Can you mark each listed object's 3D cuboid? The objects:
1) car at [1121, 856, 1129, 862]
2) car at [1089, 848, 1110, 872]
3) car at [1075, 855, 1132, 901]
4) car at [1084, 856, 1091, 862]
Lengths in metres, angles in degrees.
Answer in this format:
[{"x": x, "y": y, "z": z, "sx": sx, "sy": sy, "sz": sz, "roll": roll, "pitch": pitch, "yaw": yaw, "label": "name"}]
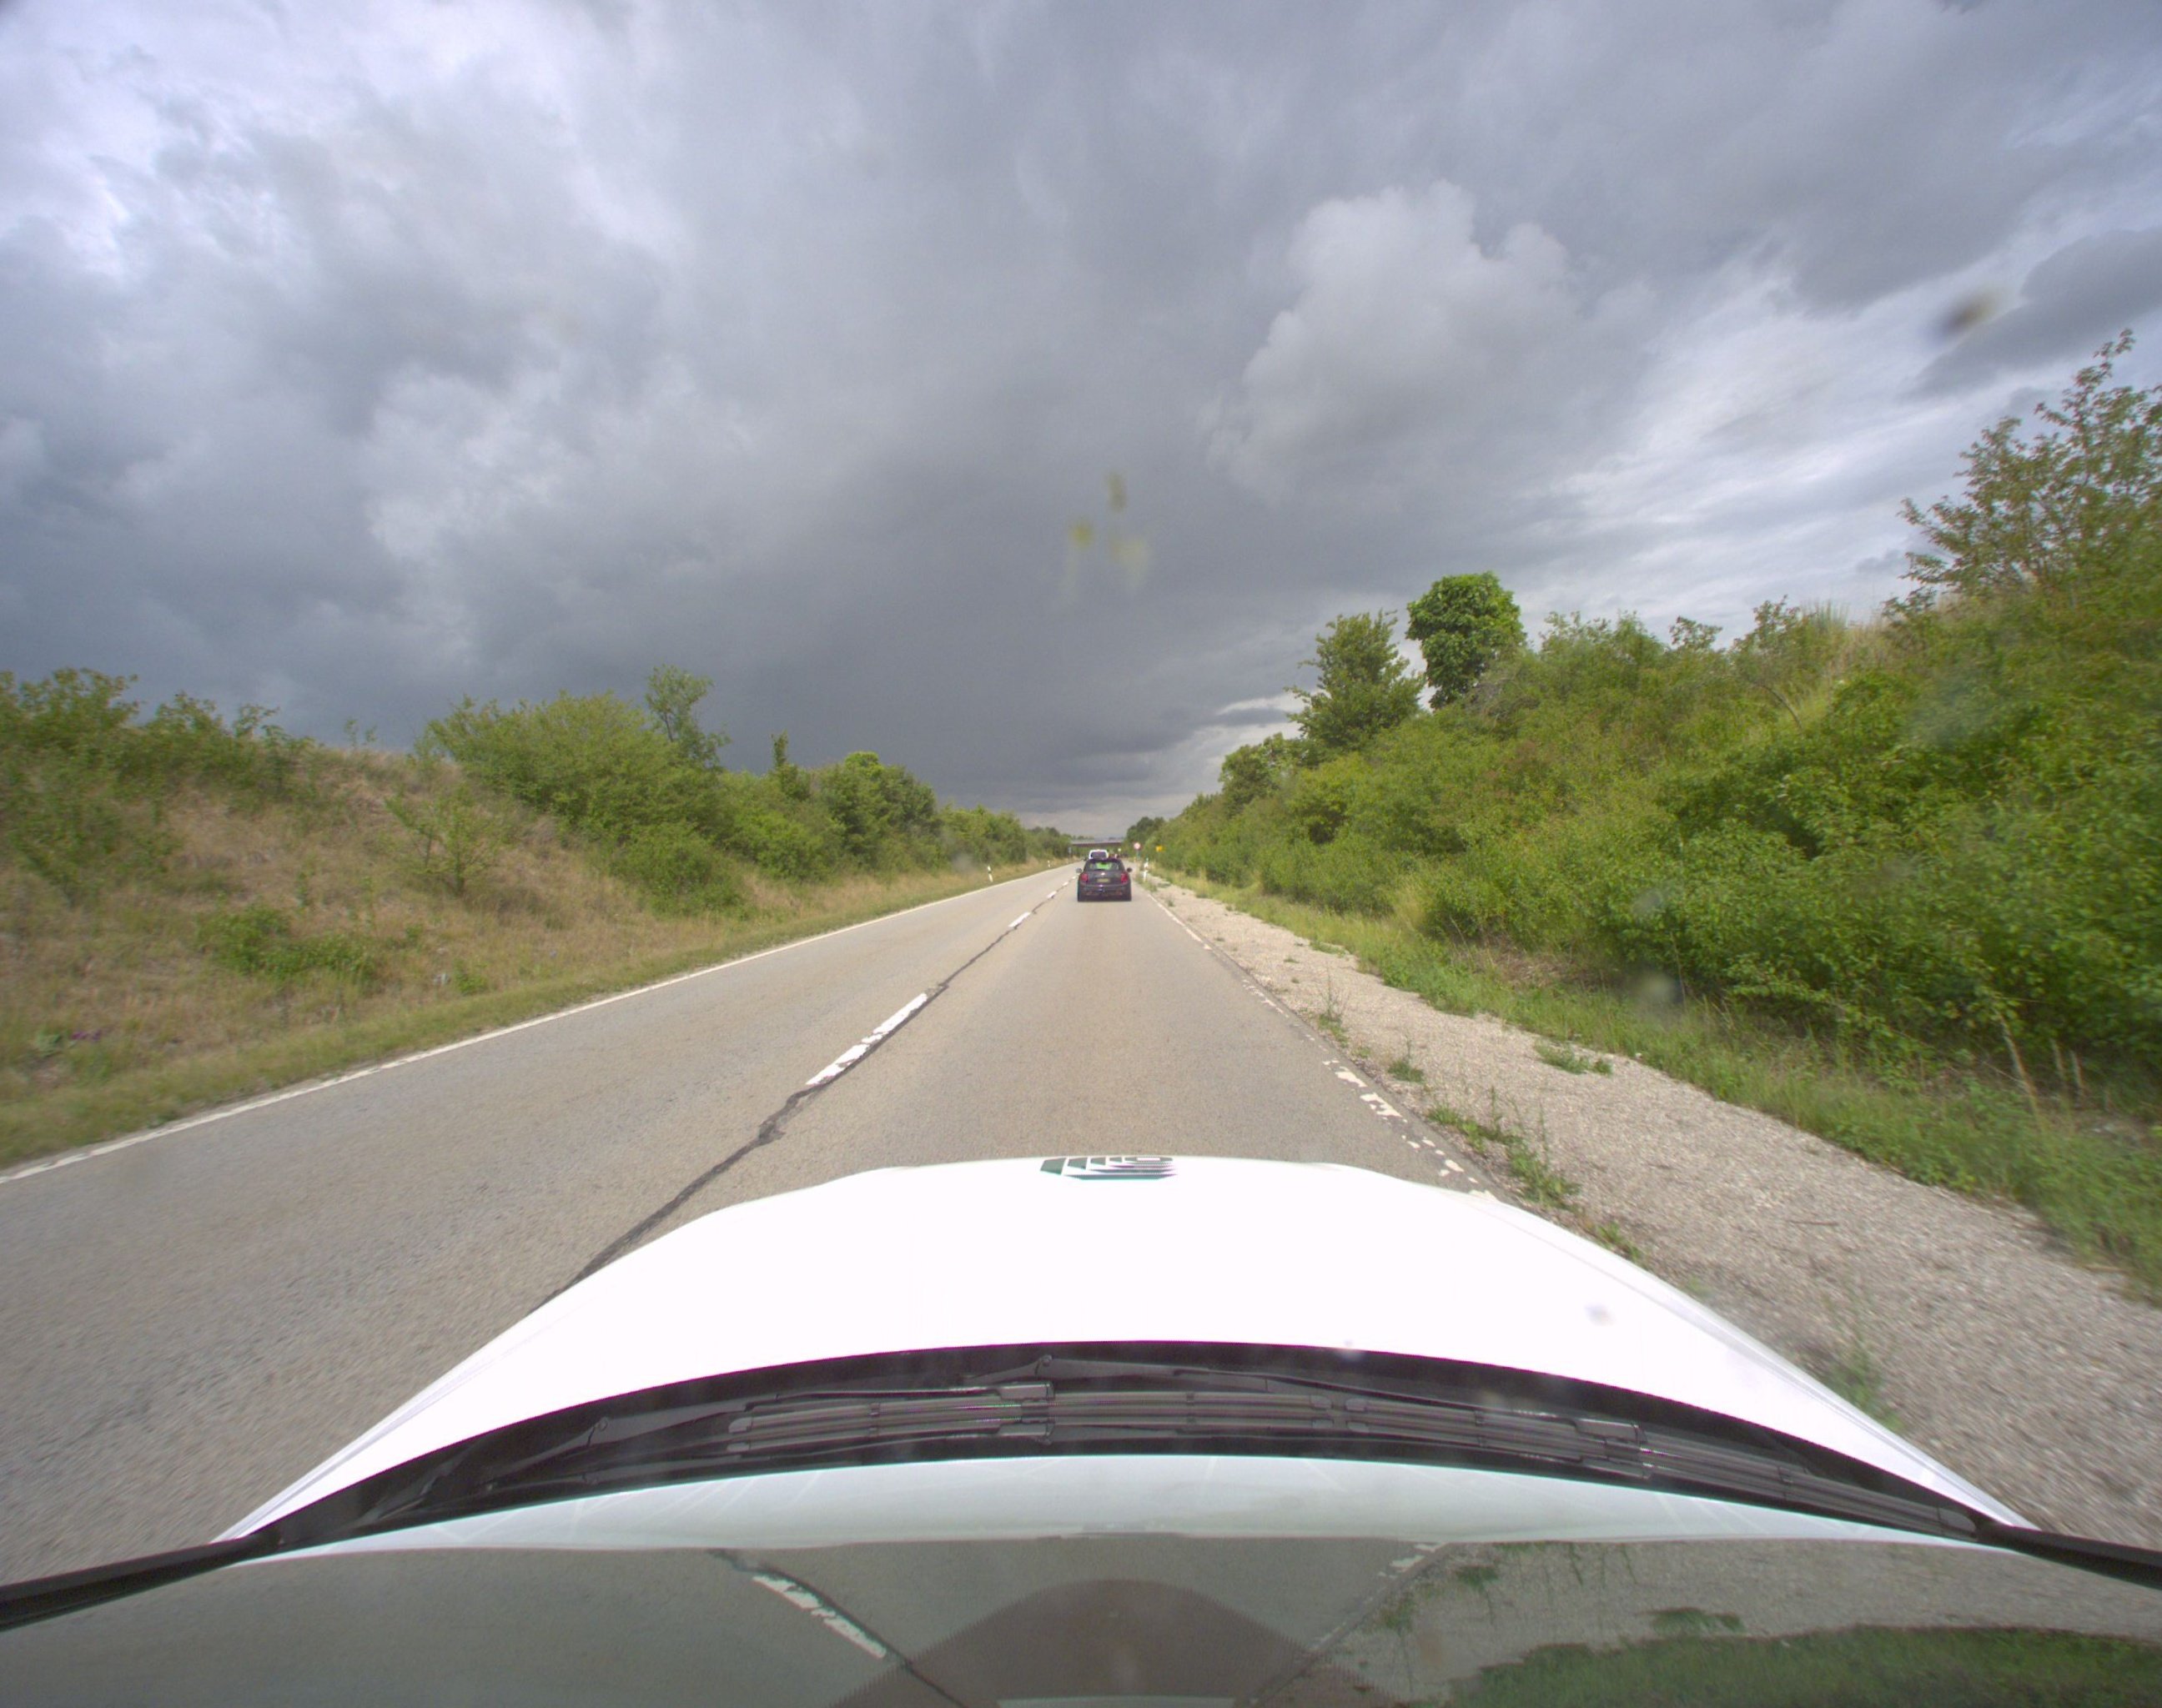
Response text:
[{"x": 11.386, "y": 1.387, "z": 211.242, "sx": 1.987, "sy": 1.552, "sz": 3.998, "roll": -1, "pitch": 0, "yaw": -1, "label": "car"}, {"x": 1.619, "y": 0.550, "z": 72.688, "sx": 1.813, "sy": 2.054, "sz": 4.001, "roll": -1, "pitch": 0, "yaw": 1, "label": "car"}, {"x": 0.758, "y": 0.747, "z": 27.473, "sx": 1.750, "sy": 1.427, "sz": 4.001, "roll": -1, "pitch": 0, "yaw": 1, "label": "car"}, {"x": 1.589, "y": 1.223, "z": 205.715, "sx": 1.695, "sy": 1.330, "sz": 4.001, "roll": -2, "pitch": 0, "yaw": 1, "label": "car"}]
